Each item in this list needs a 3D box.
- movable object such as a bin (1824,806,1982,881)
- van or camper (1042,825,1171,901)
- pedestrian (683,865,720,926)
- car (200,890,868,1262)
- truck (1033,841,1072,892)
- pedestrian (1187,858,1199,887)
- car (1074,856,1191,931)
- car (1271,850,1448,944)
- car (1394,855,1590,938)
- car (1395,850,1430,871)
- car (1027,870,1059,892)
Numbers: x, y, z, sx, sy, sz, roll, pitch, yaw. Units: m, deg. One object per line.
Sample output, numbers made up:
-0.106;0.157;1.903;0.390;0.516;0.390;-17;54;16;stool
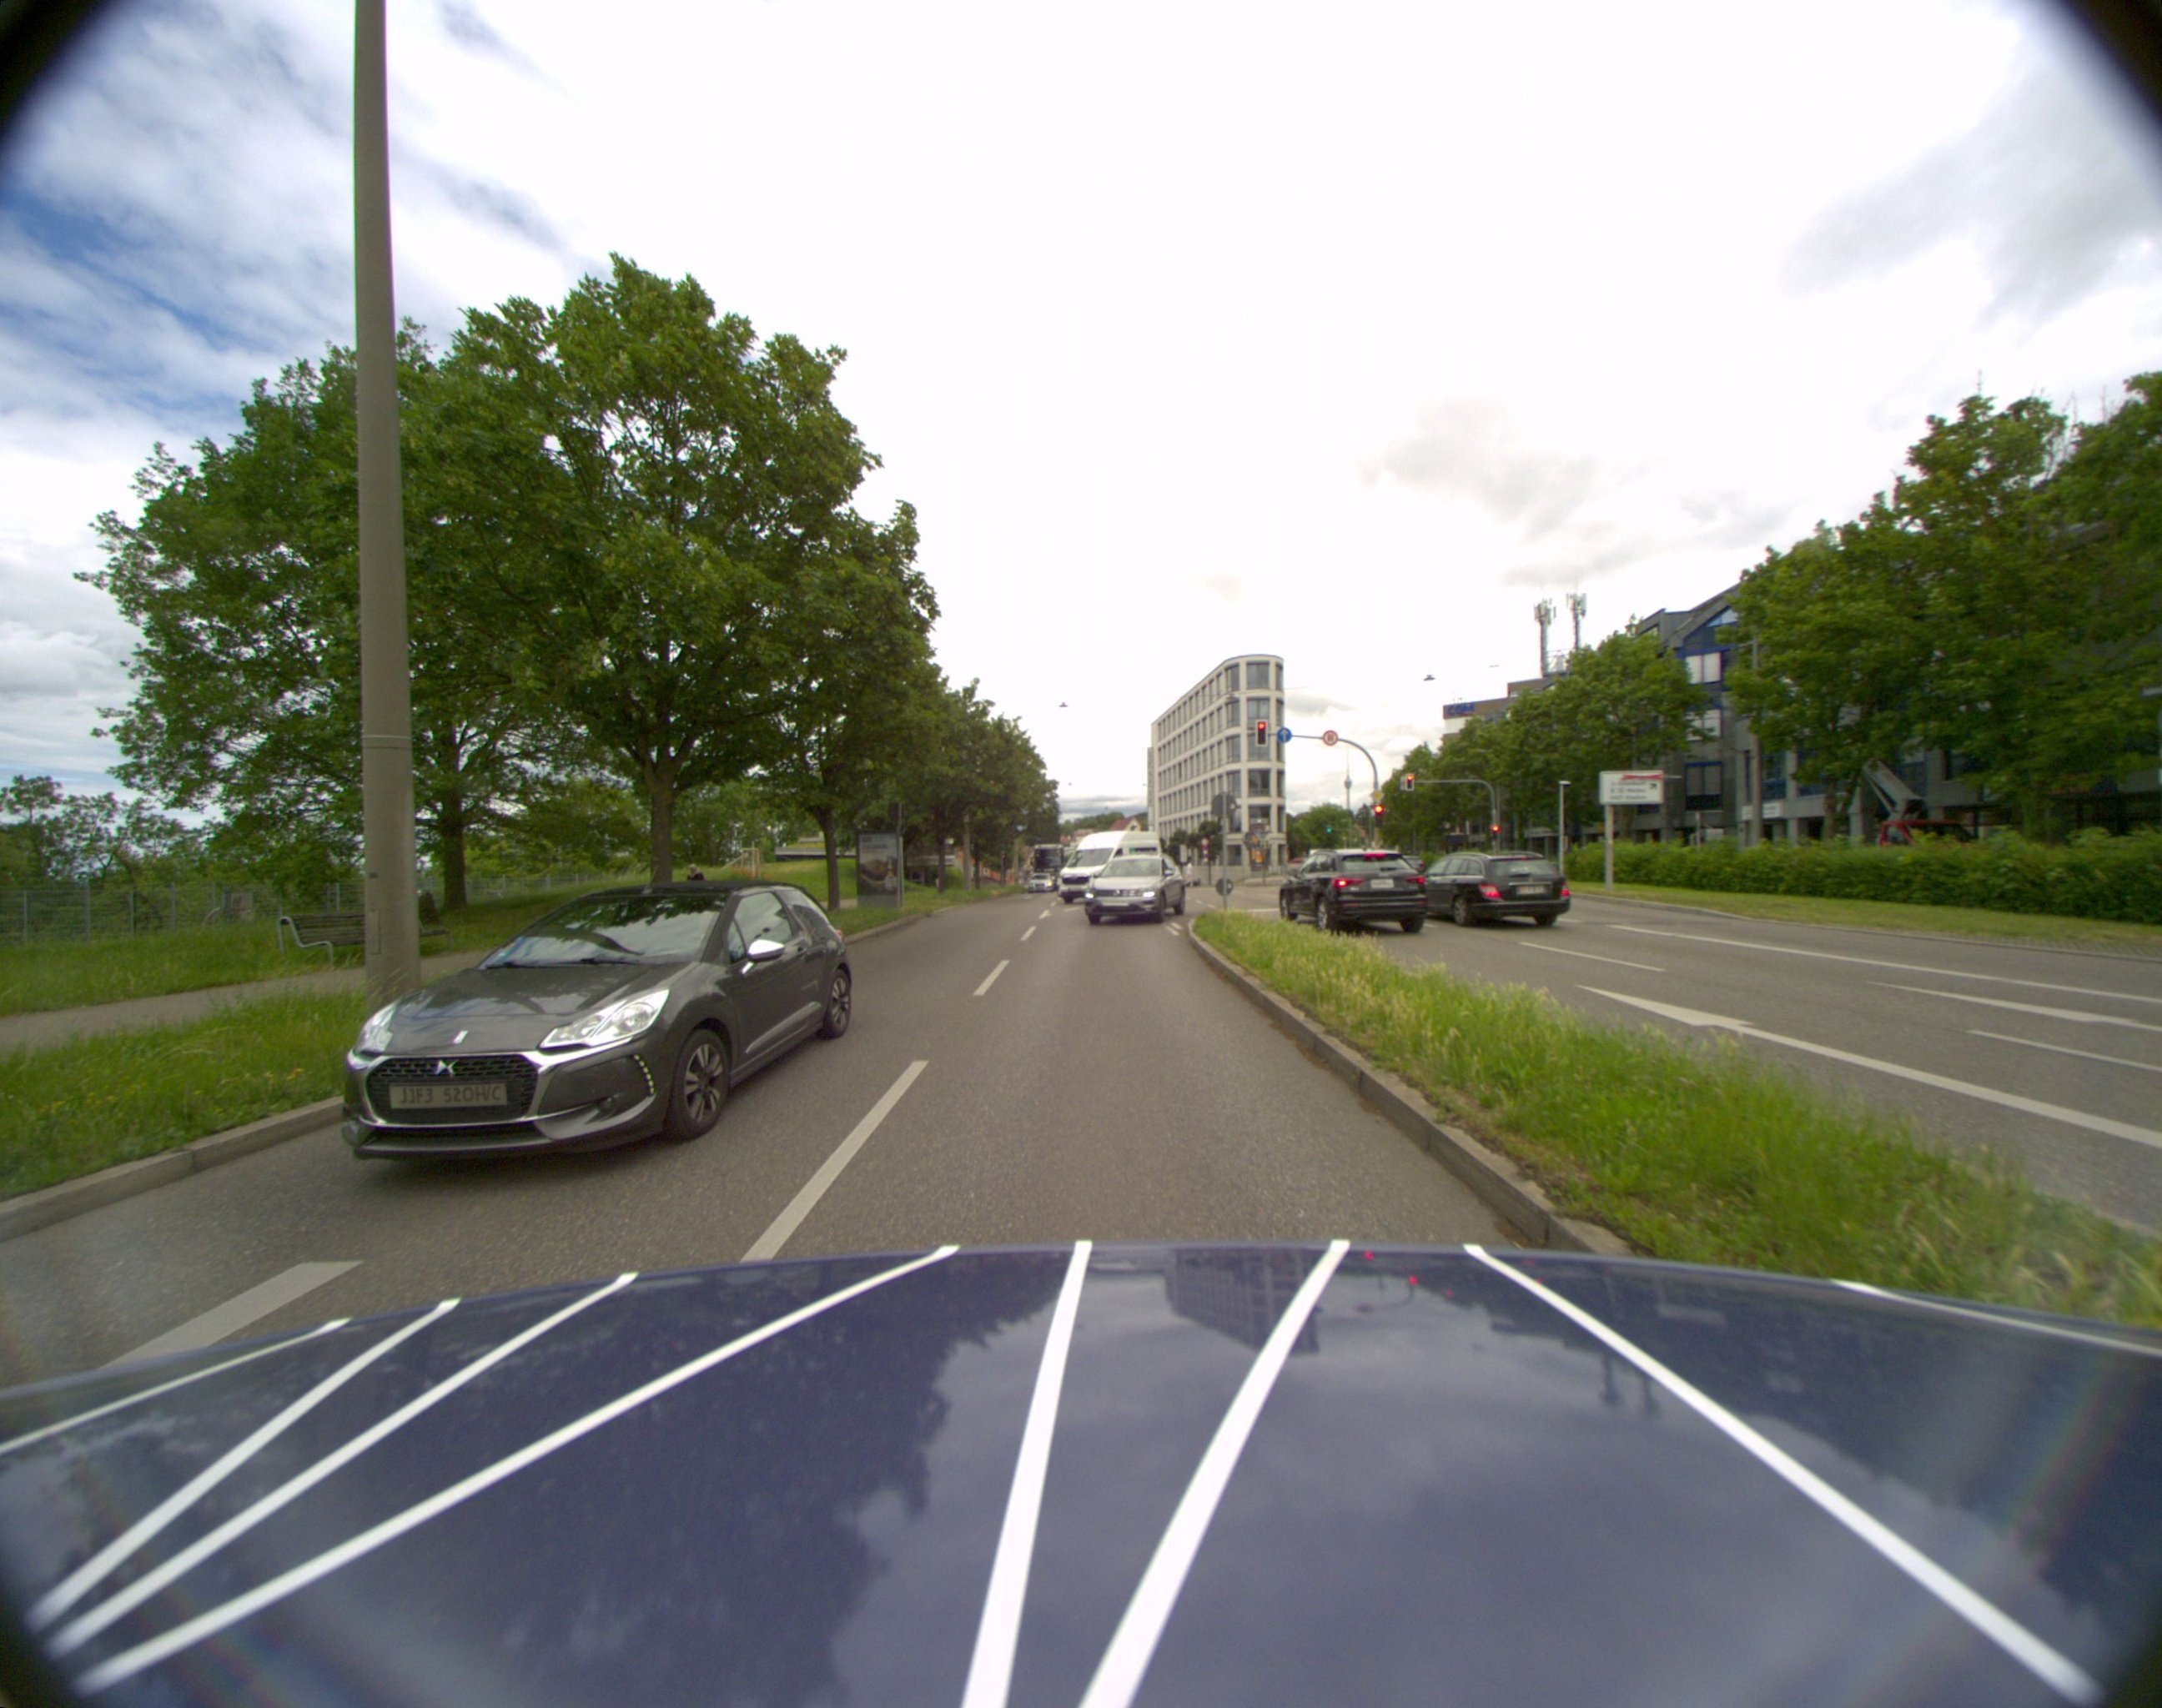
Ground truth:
30.025;-0.350;27.966;1.908;2.517;4.131;-1;0;12;movable object such as a bin
1.196;0.325;29.958;2.106;2.674;6.311;-2;-1;32;van or camper
-10.282;1.101;20.597;0.542;1.594;0.702;3;-1;1;pedestrian
-3.011;1.086;5.414;1.705;1.452;4.063;-2;-1;1;car
-2.303;1.066;64.324;2.827;3.902;9.458;-2;-1;-1;truck
7.462;1.234;50.468;0.755;1.906;0.588;0;-1;10;pedestrian
1.444;0.922;19.315;1.831;1.636;4.332;-2;-1;19;car
5.349;0.787;15.285;1.893;1.555;4.396;-2;-1;0;car
8.276;0.801;15.822;1.787;1.417;4.397;-2;-1;2;car
25.199;0.465;57.919;1.785;1.528;4.400;-1;0;15;car
-2.732;1.935;55.058;1.988;1.434;4.159;-2;-1;1;car
